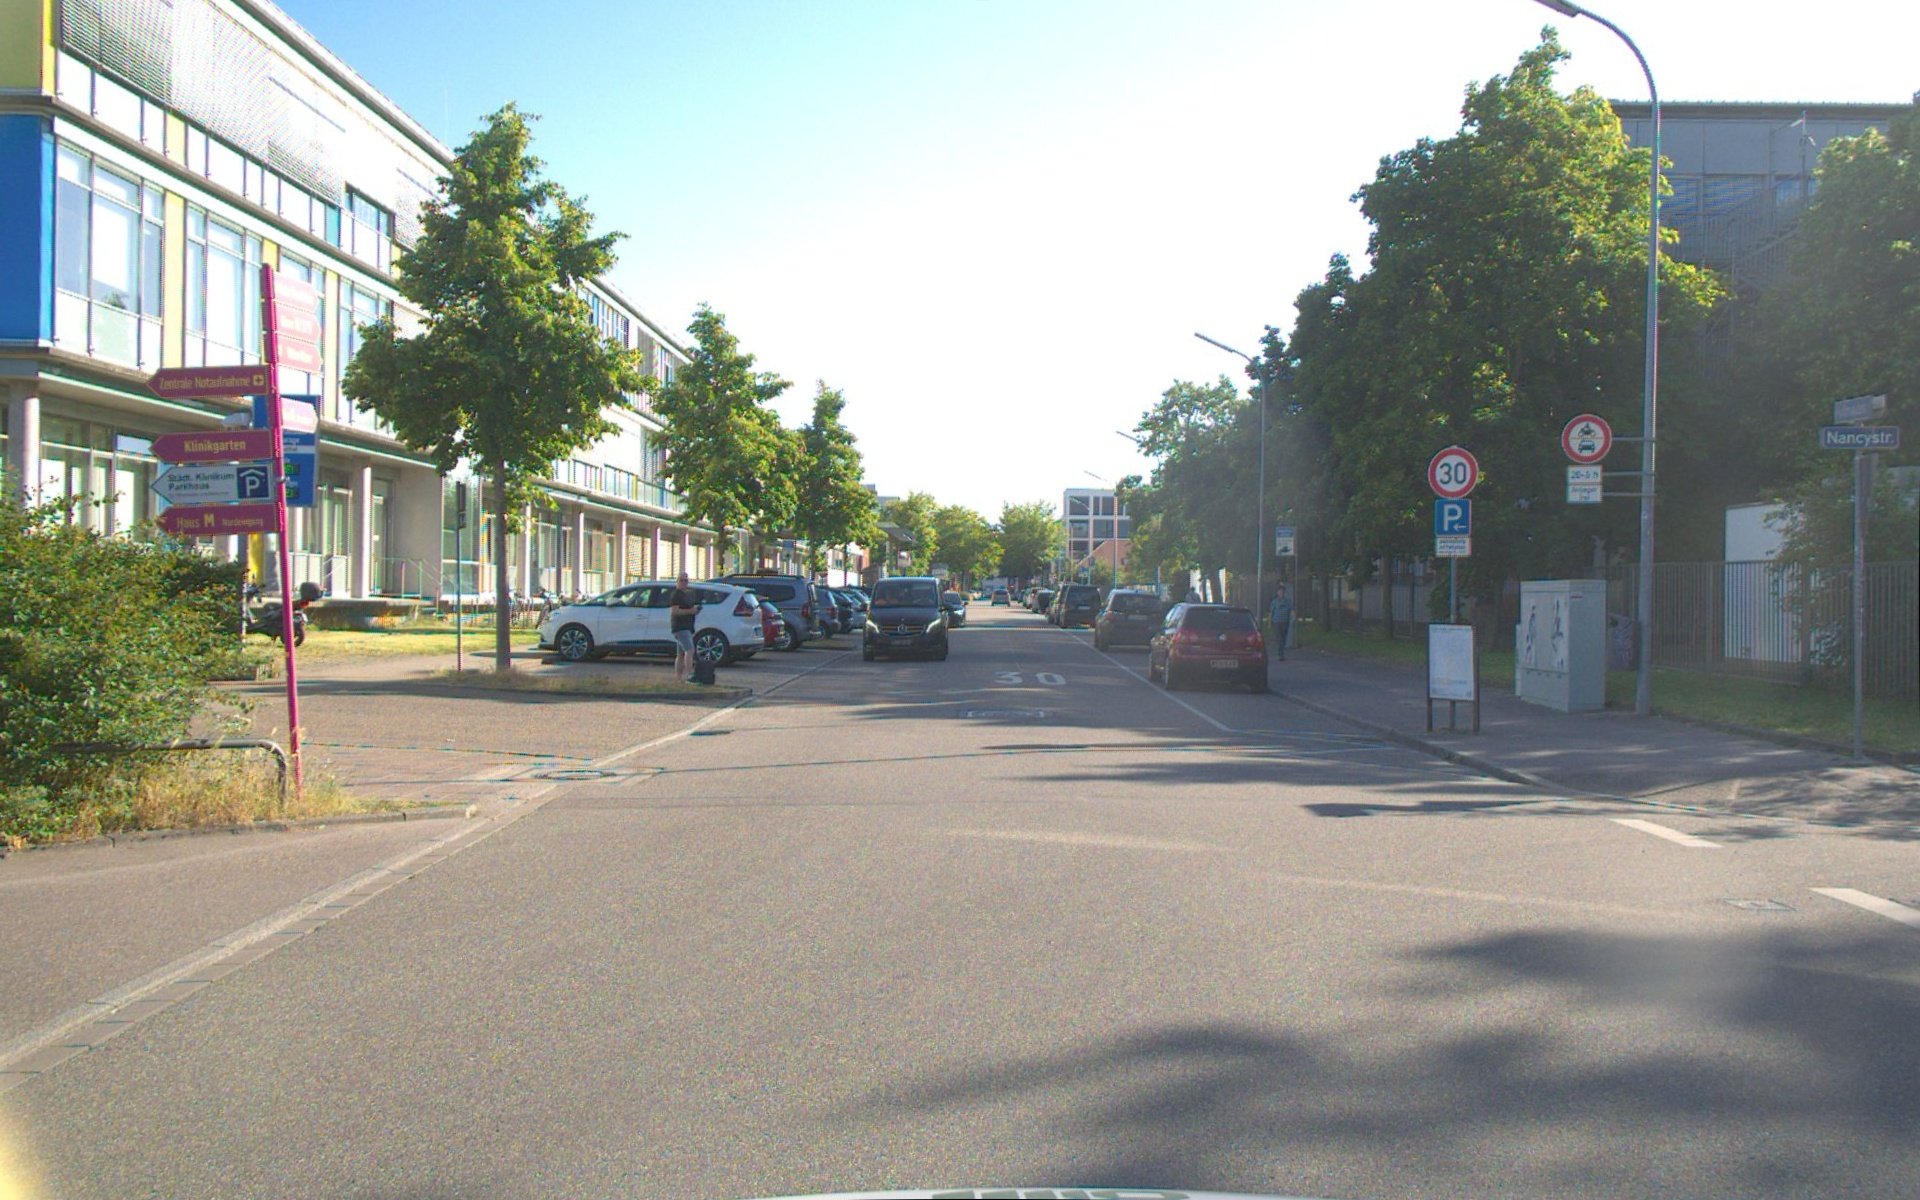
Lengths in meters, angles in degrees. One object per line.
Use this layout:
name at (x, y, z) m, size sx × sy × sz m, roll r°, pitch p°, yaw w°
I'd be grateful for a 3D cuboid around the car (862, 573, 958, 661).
car at (-1.117, 0.352, 39.178) m, size 1.914 × 1.900 × 5.256 m, roll -1°, pitch 0°, yaw 2°

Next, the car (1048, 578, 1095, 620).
car at (5.154, -0.059, 76.894) m, size 1.952 × 1.854 × 4.199 m, roll -1°, pitch 1°, yaw 1°

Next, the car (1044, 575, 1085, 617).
car at (5.218, -0.211, 83.141) m, size 1.836 × 2.013 × 4.001 m, roll -1°, pitch 1°, yaw 1°

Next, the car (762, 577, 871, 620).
car at (-5.583, -0.069, 64.718) m, size 4.130 × 1.487 × 1.871 m, roll 2°, pitch 0°, yaw -3°

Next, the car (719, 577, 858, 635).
car at (-5.327, 0.189, 51.910) m, size 4.161 × 1.640 × 2.047 m, roll 2°, pitch 0°, yaw -3°

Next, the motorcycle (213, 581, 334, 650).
motorcycle at (-12.866, 0.294, 31.016) m, size 2.002 × 1.169 × 0.499 m, roll 3°, pitch 1°, yaw -1°

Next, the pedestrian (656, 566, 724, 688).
pedestrian at (-4.282, 0.415, 26.308) m, size 0.840 × 1.874 × 0.826 m, roll 2°, pitch 0°, yaw 3°

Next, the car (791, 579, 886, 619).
car at (-5.457, -0.050, 74.701) m, size 4.130 × 1.631 × 1.871 m, roll 2°, pitch 0°, yaw -3°

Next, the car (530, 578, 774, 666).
car at (-6.218, 0.425, 33.687) m, size 4.515 × 1.680 × 1.869 m, roll 1°, pitch 0°, yaw 4°

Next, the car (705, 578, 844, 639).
car at (-5.451, 0.251, 48.957) m, size 3.907 × 1.635 × 1.871 m, roll 2°, pitch 0°, yaw -3°

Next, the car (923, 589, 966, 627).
car at (-0.613, 0.306, 68.617) m, size 1.668 × 1.476 × 4.087 m, roll -1°, pitch 0°, yaw 1°

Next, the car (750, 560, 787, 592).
car at (-13.125, -1.625, 113.617) m, size 1.952 × 2.049 × 4.000 m, roll 1°, pitch -1°, yaw 1°

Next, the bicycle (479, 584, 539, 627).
bicycle at (-12.926, 0.151, 47.478) m, size 0.850 × 1.173 × 1.994 m, roll 2°, pitch 0°, yaw 10°

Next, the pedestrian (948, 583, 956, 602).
pedestrian at (-0.702, -0.668, 146.010) m, size 0.606 × 1.652 × 0.716 m, roll -1°, pitch 0°, yaw 1°

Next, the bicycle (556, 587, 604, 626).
bicycle at (-11.631, 0.191, 50.665) m, size 0.873 × 1.131 × 1.891 m, roll 2°, pitch 1°, yaw 5°

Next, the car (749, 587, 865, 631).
car at (-5.316, 0.304, 57.761) m, size 3.907 × 1.382 × 1.742 m, roll 2°, pitch 0°, yaw -3°

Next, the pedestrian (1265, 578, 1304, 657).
pedestrian at (7.526, 0.393, 38.430) m, size 0.703 × 1.788 × 0.885 m, roll -2°, pitch 0°, yaw 2°

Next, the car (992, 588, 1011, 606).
car at (3.693, -0.294, 147.635) m, size 1.707 × 1.570 × 4.001 m, roll 1°, pitch 0°, yaw 1°

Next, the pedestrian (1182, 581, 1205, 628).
pedestrian at (8.592, 0.175, 60.888) m, size 0.684 × 1.690 × 0.752 m, roll -2°, pitch 0°, yaw 1°

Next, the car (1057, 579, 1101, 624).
car at (5.050, 0.031, 70.653) m, size 1.697 × 1.862 × 3.906 m, roll 0°, pitch 0°, yaw 1°

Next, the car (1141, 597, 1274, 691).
car at (4.347, 0.720, 29.653) m, size 1.684 × 1.480 × 4.652 m, roll 2°, pitch 0°, yaw 0°

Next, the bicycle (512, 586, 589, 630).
bicycle at (-11.591, 0.242, 46.873) m, size 0.851 × 1.173 × 2.372 m, roll 2°, pitch 0°, yaw 22°

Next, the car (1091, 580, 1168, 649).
car at (4.636, 0.361, 45.692) m, size 1.774 × 1.695 × 4.594 m, roll 2°, pitch 1°, yaw 2°

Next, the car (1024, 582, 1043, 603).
car at (5.869, -0.611, 131.778) m, size 1.406 × 1.588 × 3.042 m, roll 1°, pitch 1°, yaw 1°

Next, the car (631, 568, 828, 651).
car at (-5.795, 0.214, 41.966) m, size 4.644 × 1.897 × 1.828 m, roll 2°, pitch 1°, yaw 1°

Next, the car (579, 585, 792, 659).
car at (-5.989, 0.479, 36.435) m, size 4.342 × 1.527 × 1.828 m, roll 1°, pitch 0°, yaw 1°
